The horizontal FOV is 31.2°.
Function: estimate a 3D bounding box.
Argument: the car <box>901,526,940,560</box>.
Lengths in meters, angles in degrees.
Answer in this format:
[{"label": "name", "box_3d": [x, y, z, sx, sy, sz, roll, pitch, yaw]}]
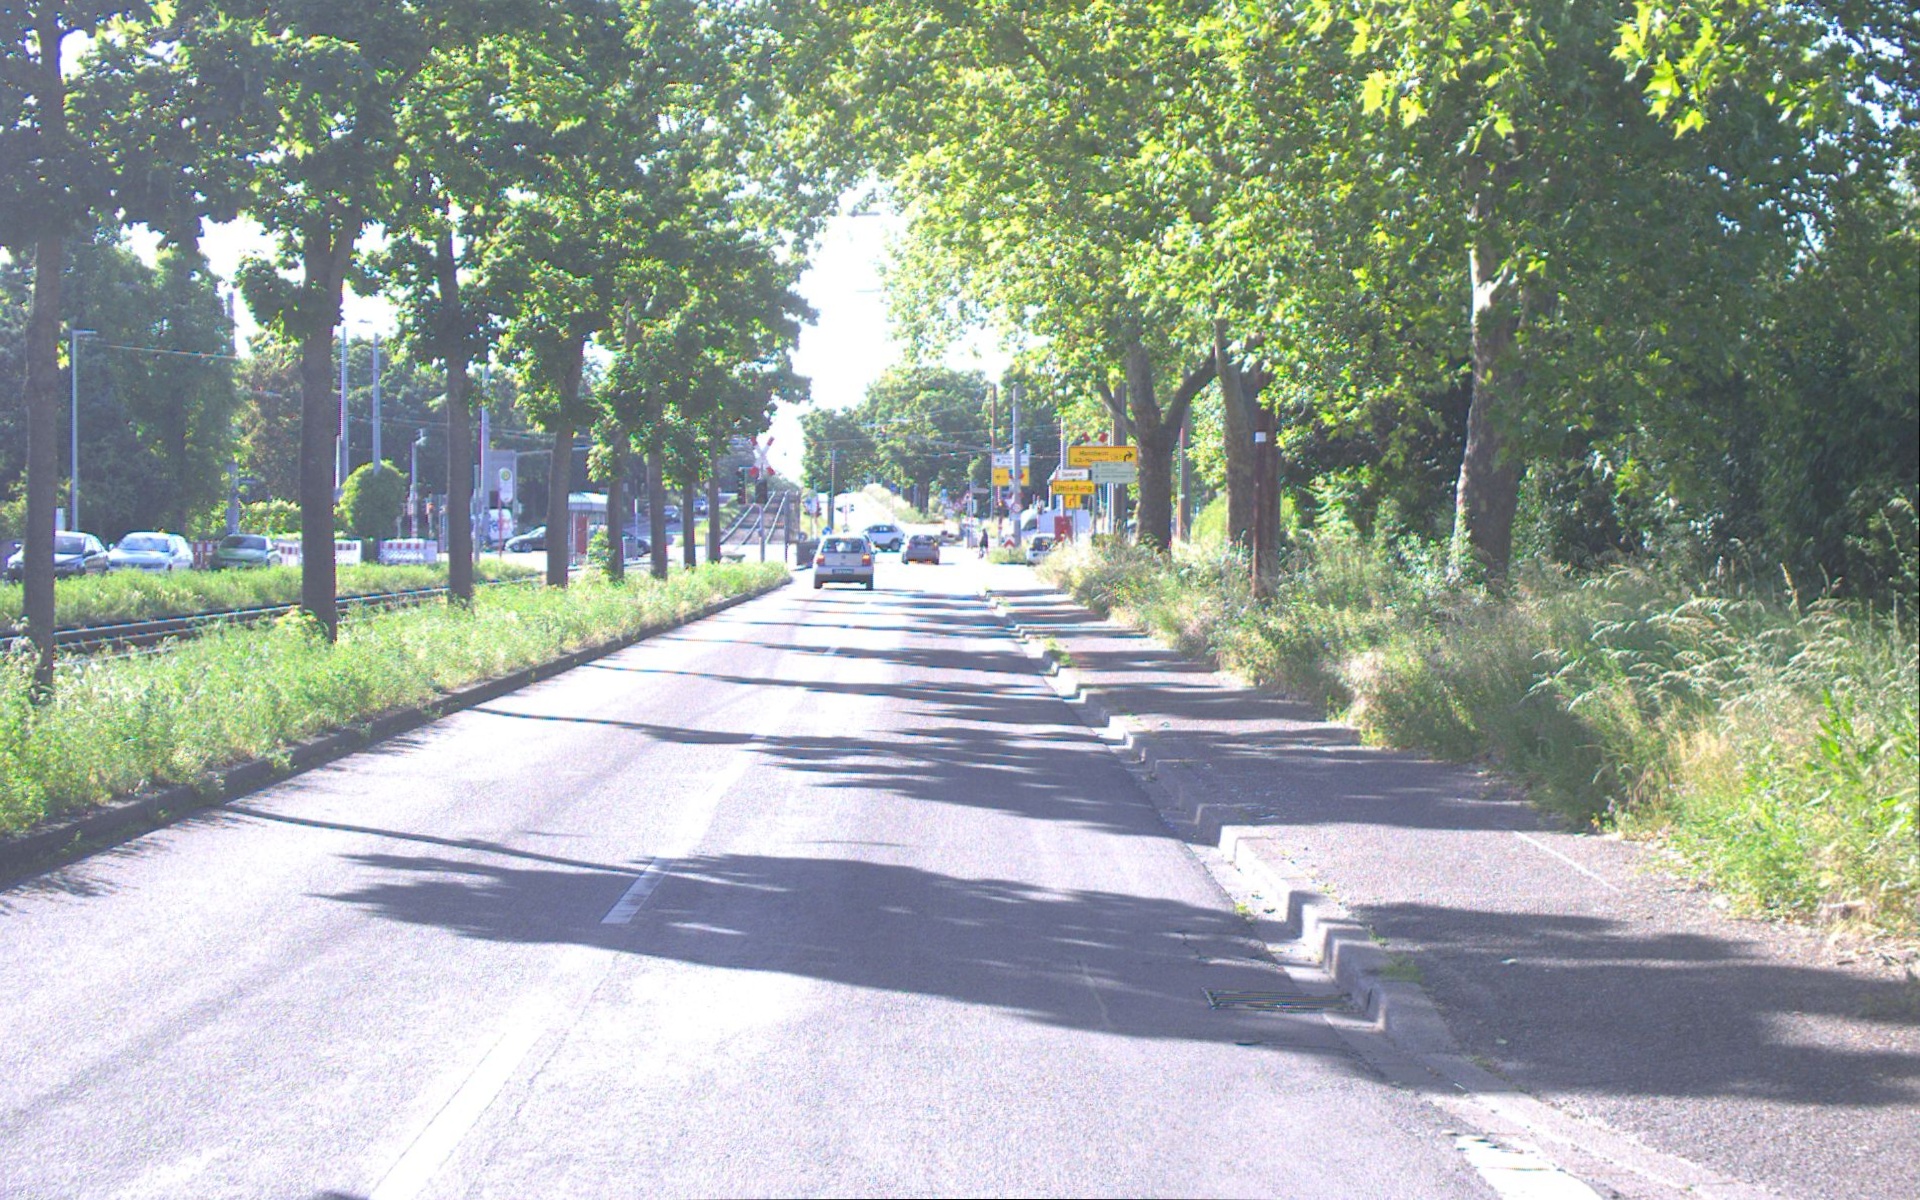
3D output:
[{"label": "car", "box_3d": [-1.911, -2.766, 165.515, 1.791, 1.553, 4.228, 2, 1, -1]}]

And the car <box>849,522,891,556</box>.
[{"label": "car", "box_3d": [-4.441, -3.031, 170.868, 1.993, 1.598, 4.474, 2, 1, -1]}]

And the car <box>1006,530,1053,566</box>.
[{"label": "car", "box_3d": [3.268, -2.466, 161.612, 1.993, 1.598, 4.474, 2, 1, -1]}]

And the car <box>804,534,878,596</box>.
[{"label": "car", "box_3d": [-3.187, -0.962, 92.567, 1.860, 1.595, 4.228, 2, 1, -1]}]

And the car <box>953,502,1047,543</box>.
[{"label": "car", "box_3d": [2.361, -4.619, 203.853, 5.146, 2.267, 2.001, 1, 1, -24]}]

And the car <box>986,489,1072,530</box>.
[{"label": "car", "box_3d": [4.290, -5.630, 214.343, 5.244, 2.346, 1.866, 1, 1, -37]}]

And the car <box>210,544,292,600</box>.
[{"label": "car", "box_3d": [-22.735, -0.925, 110.340, 1.778, 1.701, 4.228, 2, 1, -1]}]

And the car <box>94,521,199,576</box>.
[{"label": "car", "box_3d": [-22.482, -1.436, 95.150, 1.860, 1.426, 4.462, 2, 1, -1]}]

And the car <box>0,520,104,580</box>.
[{"label": "car", "box_3d": [-22.686, -1.260, 85.321, 1.860, 1.408, 4.159, 2, 1, -1]}]
